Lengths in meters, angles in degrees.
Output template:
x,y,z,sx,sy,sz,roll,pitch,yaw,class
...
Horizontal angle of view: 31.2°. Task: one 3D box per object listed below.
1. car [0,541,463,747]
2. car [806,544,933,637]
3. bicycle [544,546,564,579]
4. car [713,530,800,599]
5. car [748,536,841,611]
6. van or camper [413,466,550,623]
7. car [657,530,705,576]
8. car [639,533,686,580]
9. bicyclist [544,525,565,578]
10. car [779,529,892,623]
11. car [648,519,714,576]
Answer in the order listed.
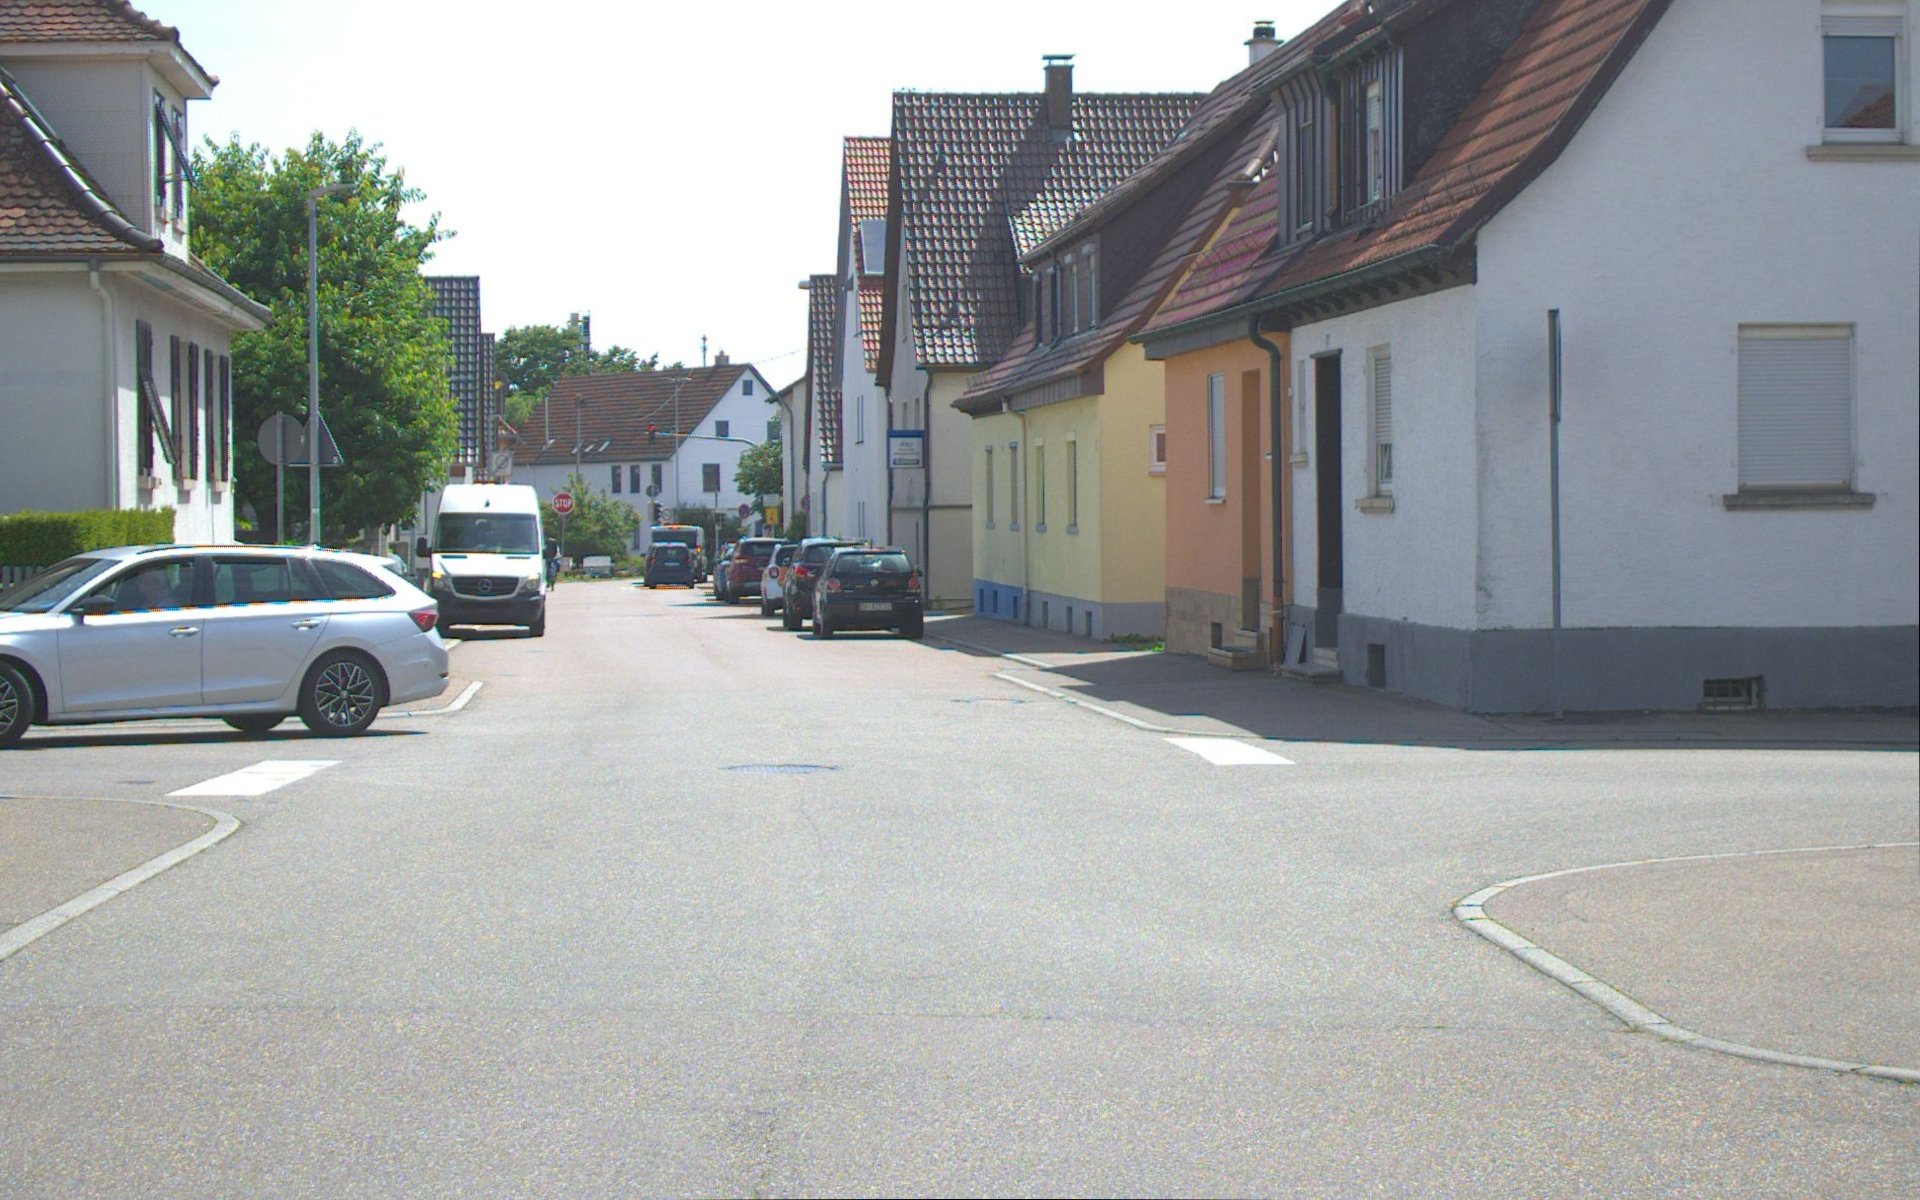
x,y,z,sx,sy,sz,roll,pitch,yaw,class
-6.128,0.279,25.480,4.574,1.433,1.758,-1,1,-38,car
-1.482,-0.179,55.101,1.610,1.426,3.755,0,1,-8,car
-13.817,-1.286,117.016,0.670,1.128,2.190,0,1,-7,bicycle
-5.210,-0.928,87.565,1.875,1.694,4.184,0,1,-8,car
-3.513,-0.580,72.705,1.673,1.553,3.041,0,1,-8,car
-8.297,-0.976,60.107,2.184,2.563,6.809,0,1,-6,van or camper
-9.593,-1.627,118.411,1.515,1.561,3.184,0,1,-3,car
-10.591,-1.552,122.451,1.515,1.619,3.184,-1,1,-3,car
-13.816,-1.655,117.089,0.713,1.792,0.942,0,1,-8,bicyclist
-2.239,-0.446,60.831,1.728,1.594,4.254,0,1,-5,car
-10.732,-2.028,132.611,2.129,2.151,4.736,-1,1,0,car
